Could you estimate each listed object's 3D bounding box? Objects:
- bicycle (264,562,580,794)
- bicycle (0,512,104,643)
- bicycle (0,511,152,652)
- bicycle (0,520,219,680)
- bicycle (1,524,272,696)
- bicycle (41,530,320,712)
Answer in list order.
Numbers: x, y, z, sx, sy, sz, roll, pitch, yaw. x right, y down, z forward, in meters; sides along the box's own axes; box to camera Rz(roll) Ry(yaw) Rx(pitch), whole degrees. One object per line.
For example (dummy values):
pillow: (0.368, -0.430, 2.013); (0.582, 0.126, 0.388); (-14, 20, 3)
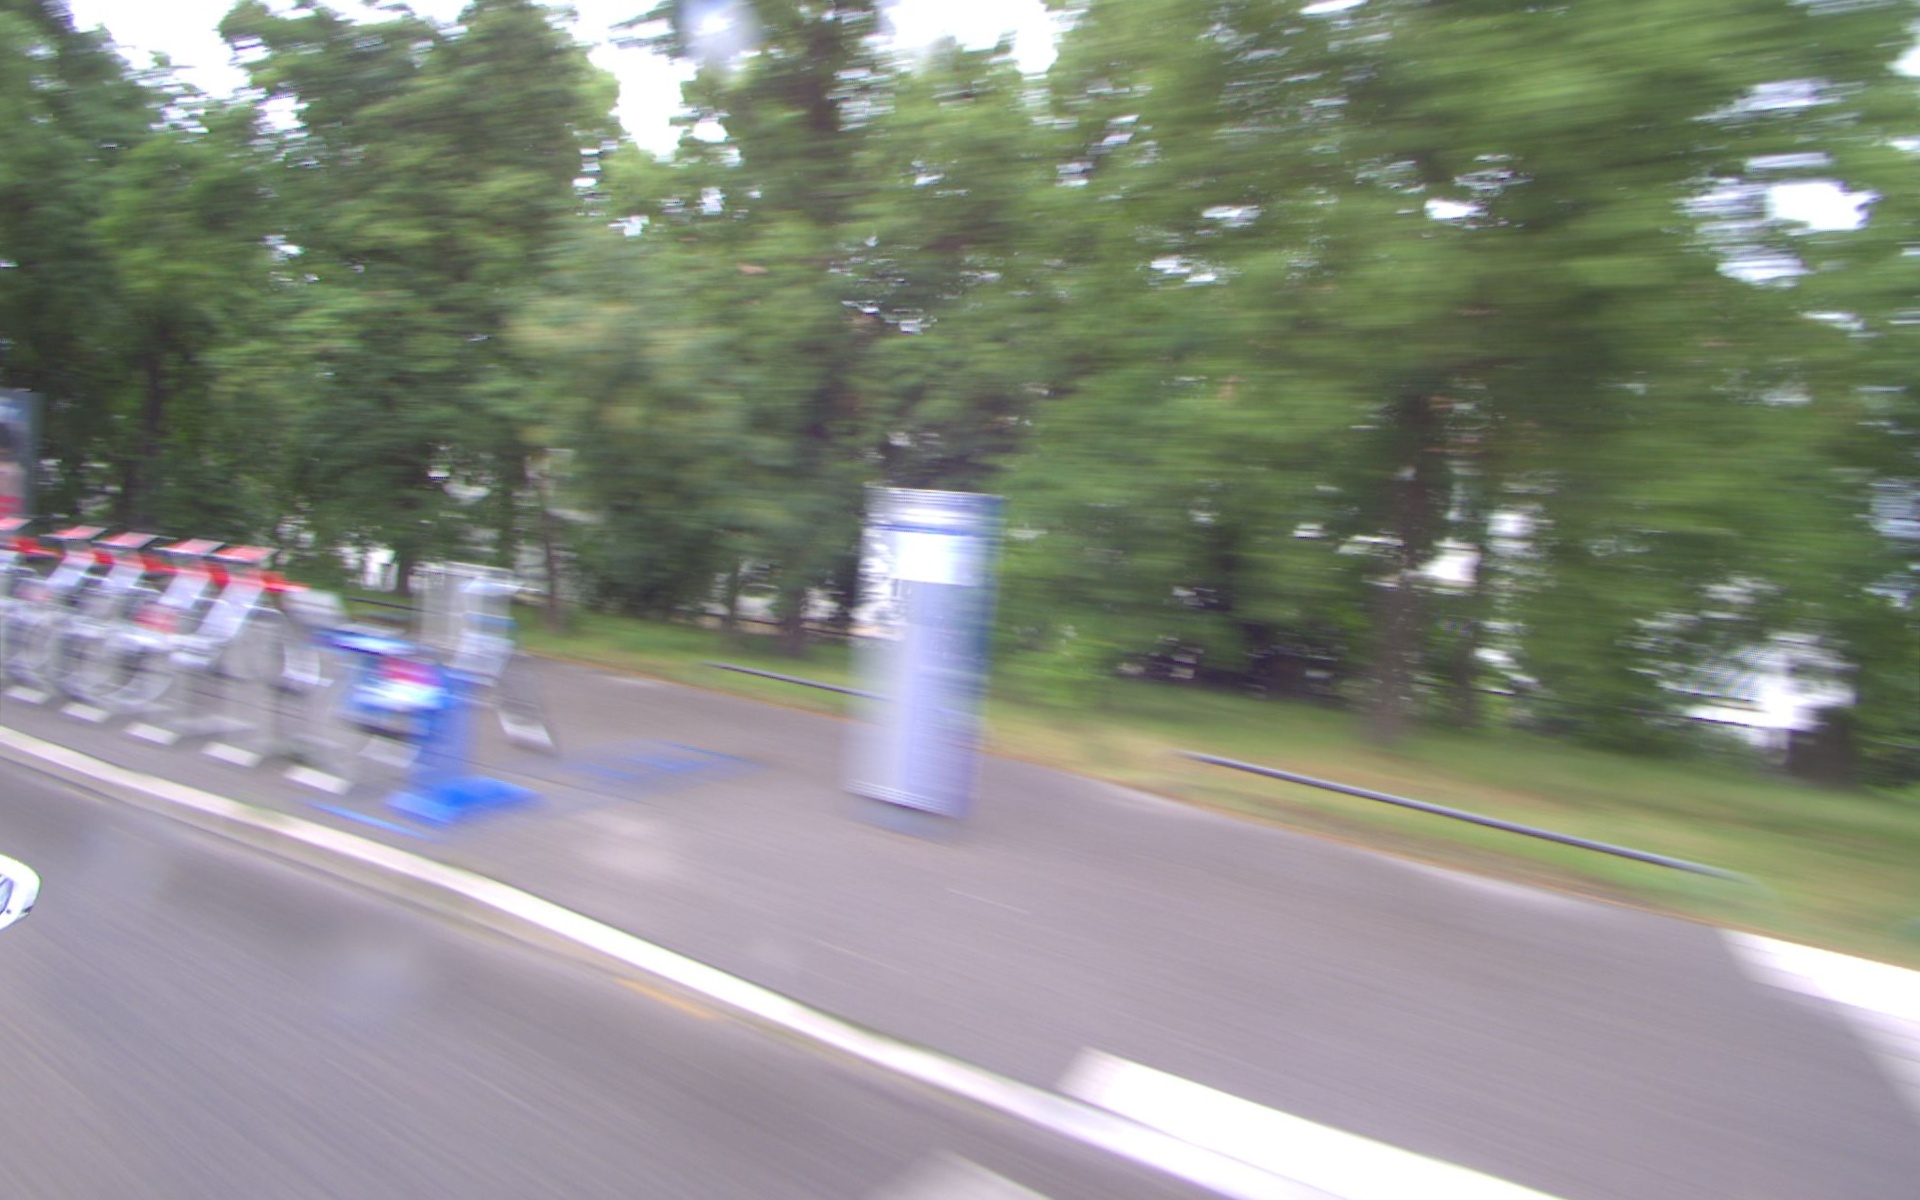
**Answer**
bicycle: (-3.081, 0.393, 5.928); (0.547, 1.147, 1.597); (5, 3, 26)
bicycle: (-8.686, -0.211, 8.982); (0.547, 1.147, 1.486); (5, 3, 26)
bicycle: (-7.950, -0.171, 8.635); (0.547, 1.147, 1.486); (5, 3, 26)
bicycle: (-6.861, -0.015, 7.977); (0.547, 1.147, 1.486); (5, 3, 26)
bicycle: (-6.165, 0.059, 7.611); (0.547, 1.147, 1.486); (5, 3, 26)
bicycle: (-5.538, 0.127, 7.239); (0.547, 1.147, 1.486); (5, 3, 26)
